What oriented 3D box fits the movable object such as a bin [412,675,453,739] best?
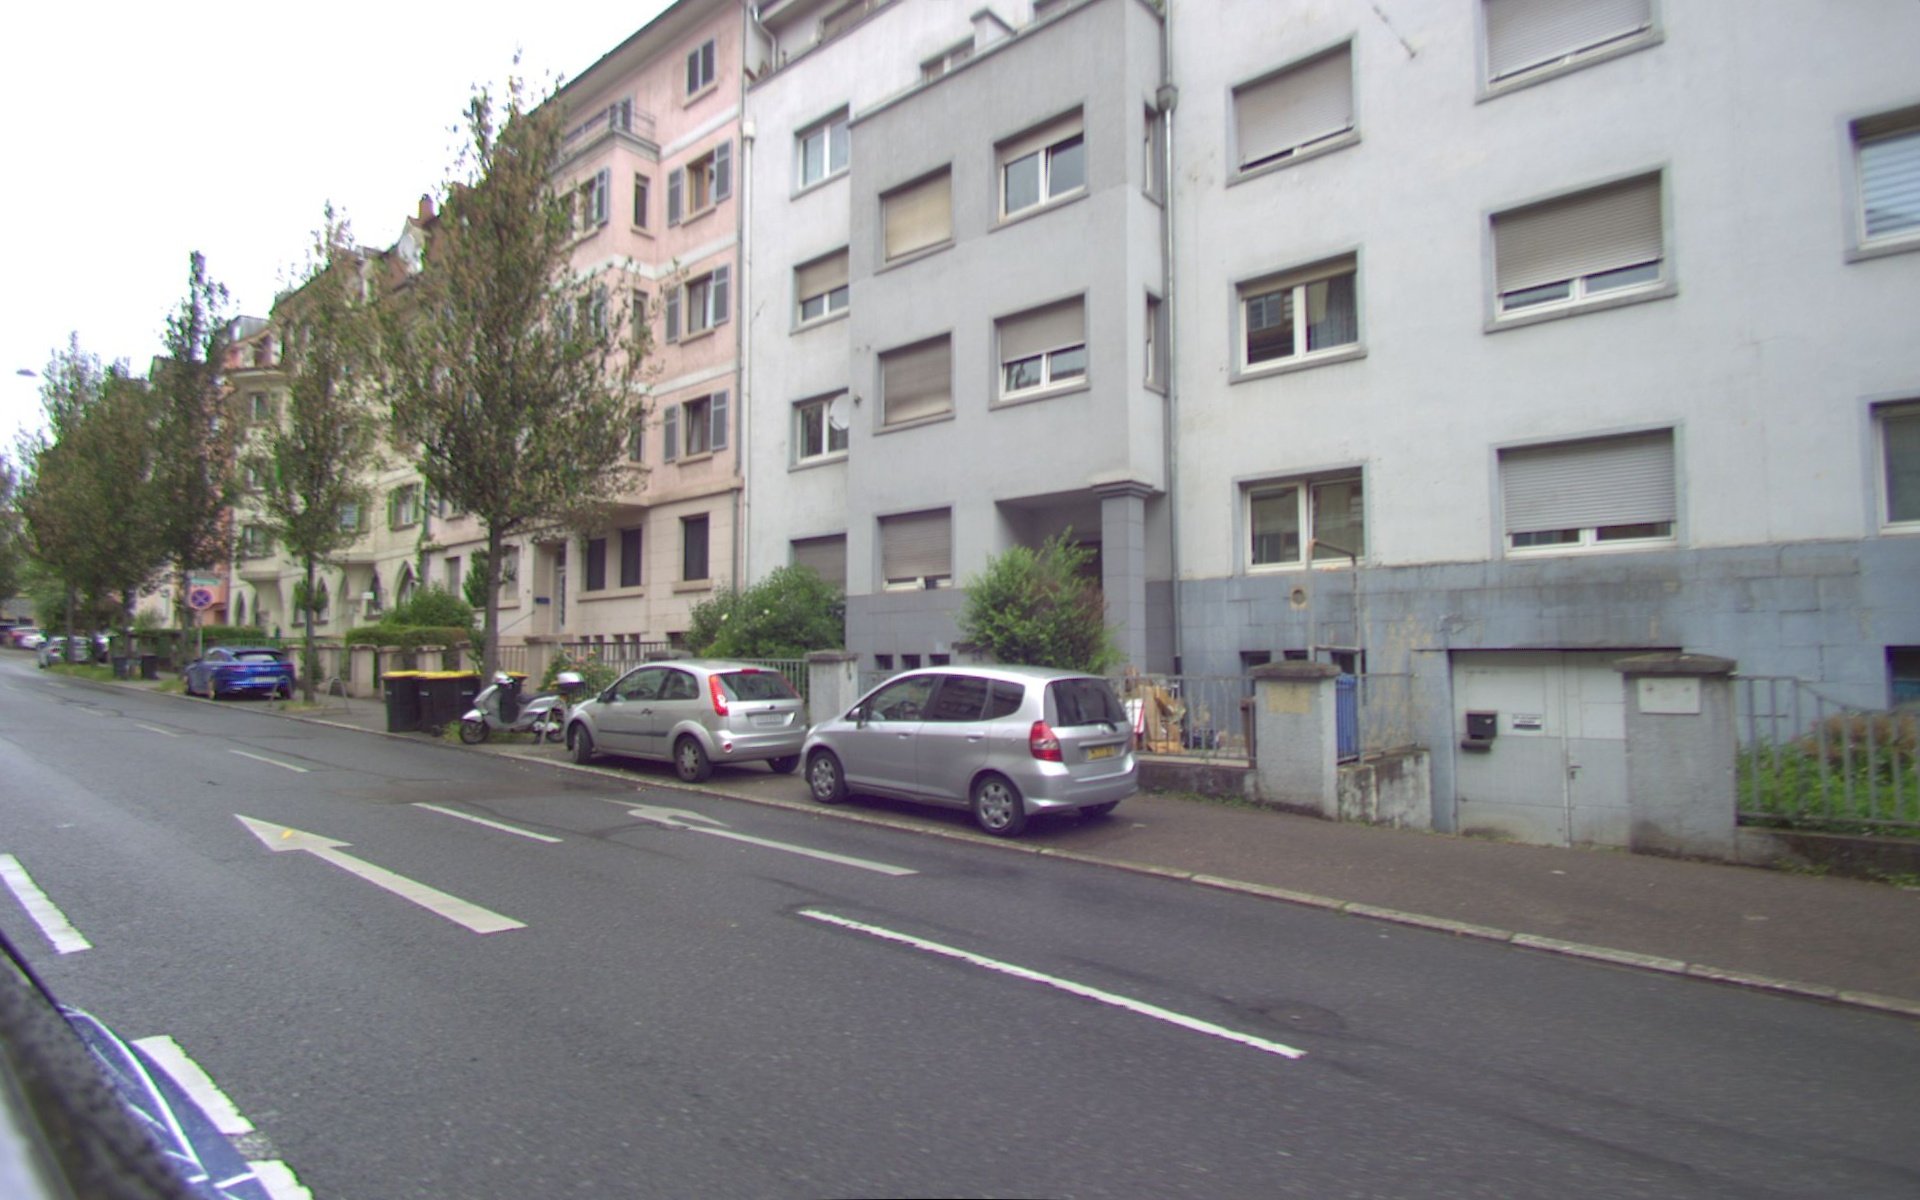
[{"bbox_3d":[-9.322,1.878,17.885,0.482,1.066,0.467,0,0,32],"label":"movable object such as a bin"}]

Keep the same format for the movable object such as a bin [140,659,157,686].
[{"bbox_3d":[-28.834,2.569,35.945,0.572,0.918,0.360,0,-2,40],"label":"movable object such as a bin"}]

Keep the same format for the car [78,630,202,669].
[{"bbox_3d":[-42.771,2.552,52.884,1.917,1.919,4.673,0,-2,39],"label":"car"}]

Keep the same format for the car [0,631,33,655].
[{"bbox_3d":[-76.952,3.405,80.906,1.865,1.861,3.881,0,-4,38],"label":"car"}]

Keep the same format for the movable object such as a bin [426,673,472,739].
[{"bbox_3d":[-8.766,1.811,17.353,0.480,1.066,0.522,0,0,19],"label":"movable object such as a bin"}]

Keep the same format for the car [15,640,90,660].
[{"bbox_3d":[-65.860,3.659,73.483,1.646,1.307,3.878,-1,-4,41],"label":"car"}]

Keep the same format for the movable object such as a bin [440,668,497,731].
[{"bbox_3d":[-9.052,1.818,18.637,0.483,1.066,0.816,-1,-1,42],"label":"movable object such as a bin"}]

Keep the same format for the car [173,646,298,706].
[{"bbox_3d":[-19.640,2.003,27.358,4.600,1.396,1.661,0,-3,41],"label":"car"}]

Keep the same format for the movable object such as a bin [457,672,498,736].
[{"bbox_3d":[-8.547,1.824,17.924,0.482,1.066,0.467,0,0,32],"label":"movable object such as a bin"}]

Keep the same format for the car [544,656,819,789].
[{"bbox_3d":[-3.793,1.505,13.484,3.884,1.407,1.584,0,-3,40],"label":"car"}]

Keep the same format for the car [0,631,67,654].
[{"bbox_3d":[-73.650,3.380,80.326,1.592,1.634,3.878,-1,-4,41],"label":"car"}]

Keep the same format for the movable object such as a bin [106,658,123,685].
[{"bbox_3d":[-29.439,2.492,35.234,0.572,0.896,0.360,-2,-2,40],"label":"movable object such as a bin"}]

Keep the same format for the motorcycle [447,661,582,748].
[{"bbox_3d":[-7.057,1.656,16.113,1.782,1.325,0.743,2,-3,-8],"label":"motorcycle"}]

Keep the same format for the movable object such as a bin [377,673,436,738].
[{"bbox_3d":[-9.896,1.872,18.105,0.483,1.066,0.816,-1,0,42],"label":"movable object such as a bin"}]

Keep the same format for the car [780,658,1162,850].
[{"bbox_3d":[-0.035,1.391,10.357,3.889,1.462,1.582,-1,-3,45],"label":"car"}]

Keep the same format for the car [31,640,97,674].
[{"bbox_3d":[-41.044,2.580,46.315,4.135,1.428,1.664,-1,-5,41],"label":"car"}]
